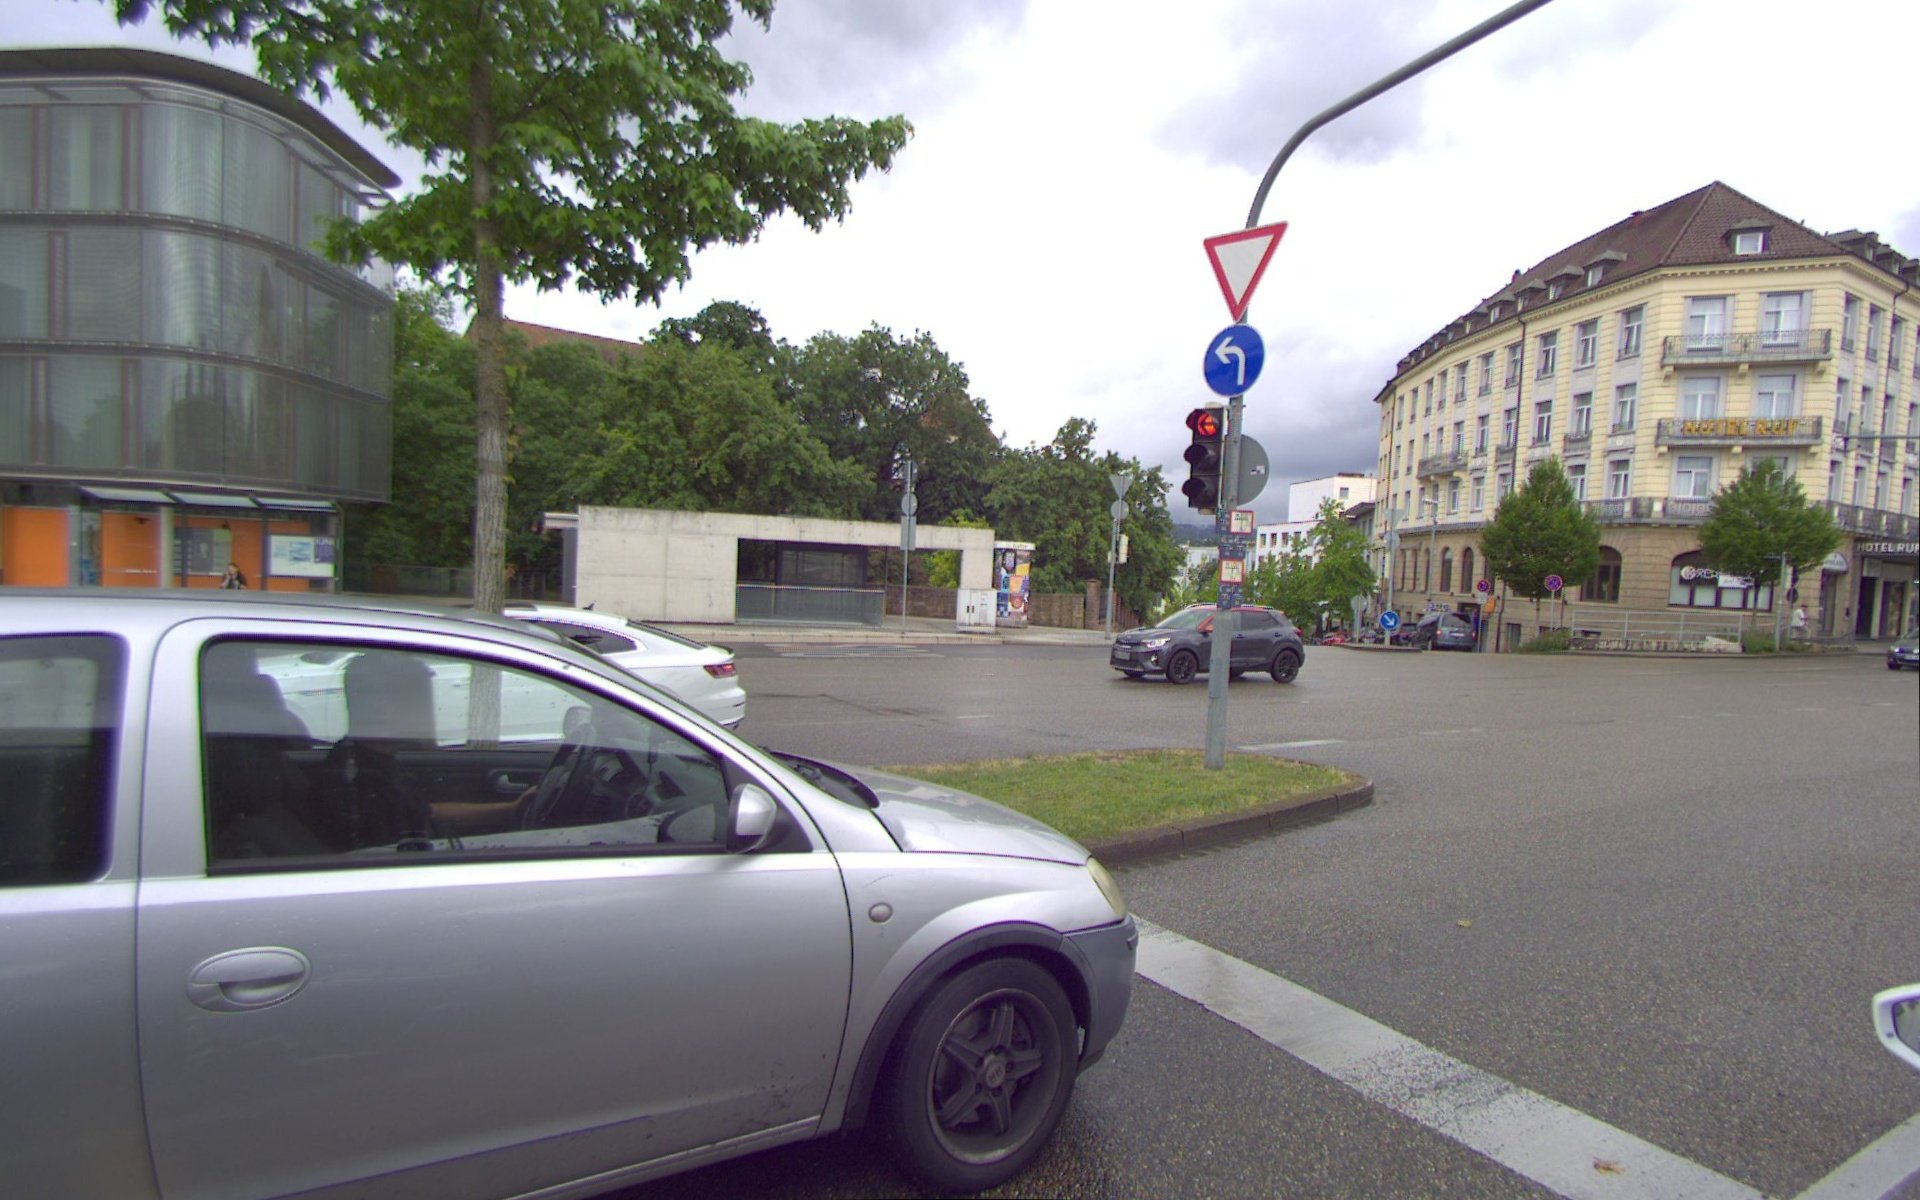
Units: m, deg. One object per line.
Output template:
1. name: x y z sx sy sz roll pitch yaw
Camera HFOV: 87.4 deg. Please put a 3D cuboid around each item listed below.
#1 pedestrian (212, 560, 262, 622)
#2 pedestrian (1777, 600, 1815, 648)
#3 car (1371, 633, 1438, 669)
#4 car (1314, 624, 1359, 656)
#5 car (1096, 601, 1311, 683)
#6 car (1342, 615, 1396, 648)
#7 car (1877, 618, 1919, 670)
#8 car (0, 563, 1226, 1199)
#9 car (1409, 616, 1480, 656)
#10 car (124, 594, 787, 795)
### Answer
1. pedestrian: -16.084 -0.194 22.374 0.780 1.341 0.798 1 1 -28
2. pedestrian: 34.223 0.988 41.108 1.010 1.903 0.859 1 1 -30
3. car: 22.787 2.582 51.638 1.959 1.662 4.002 2 0 6
4. car: 23.585 2.478 63.042 1.741 1.836 3.624 2 1 7
5. car: 4.852 0.827 20.013 3.968 1.496 1.627 2 0 -23
6. car: 23.162 1.773 56.988 1.757 1.662 3.916 2 1 6
7. car: 30.435 1.333 31.088 4.008 1.460 1.748 -1 2 -28
8. car: -1.252 0.685 2.473 3.696 1.478 1.613 1 1 -33
9. car: 21.734 1.576 45.183 1.764 1.589 4.002 2 1 9
10. car: -4.115 0.720 8.921 4.801 1.400 1.716 2 -1 -30
